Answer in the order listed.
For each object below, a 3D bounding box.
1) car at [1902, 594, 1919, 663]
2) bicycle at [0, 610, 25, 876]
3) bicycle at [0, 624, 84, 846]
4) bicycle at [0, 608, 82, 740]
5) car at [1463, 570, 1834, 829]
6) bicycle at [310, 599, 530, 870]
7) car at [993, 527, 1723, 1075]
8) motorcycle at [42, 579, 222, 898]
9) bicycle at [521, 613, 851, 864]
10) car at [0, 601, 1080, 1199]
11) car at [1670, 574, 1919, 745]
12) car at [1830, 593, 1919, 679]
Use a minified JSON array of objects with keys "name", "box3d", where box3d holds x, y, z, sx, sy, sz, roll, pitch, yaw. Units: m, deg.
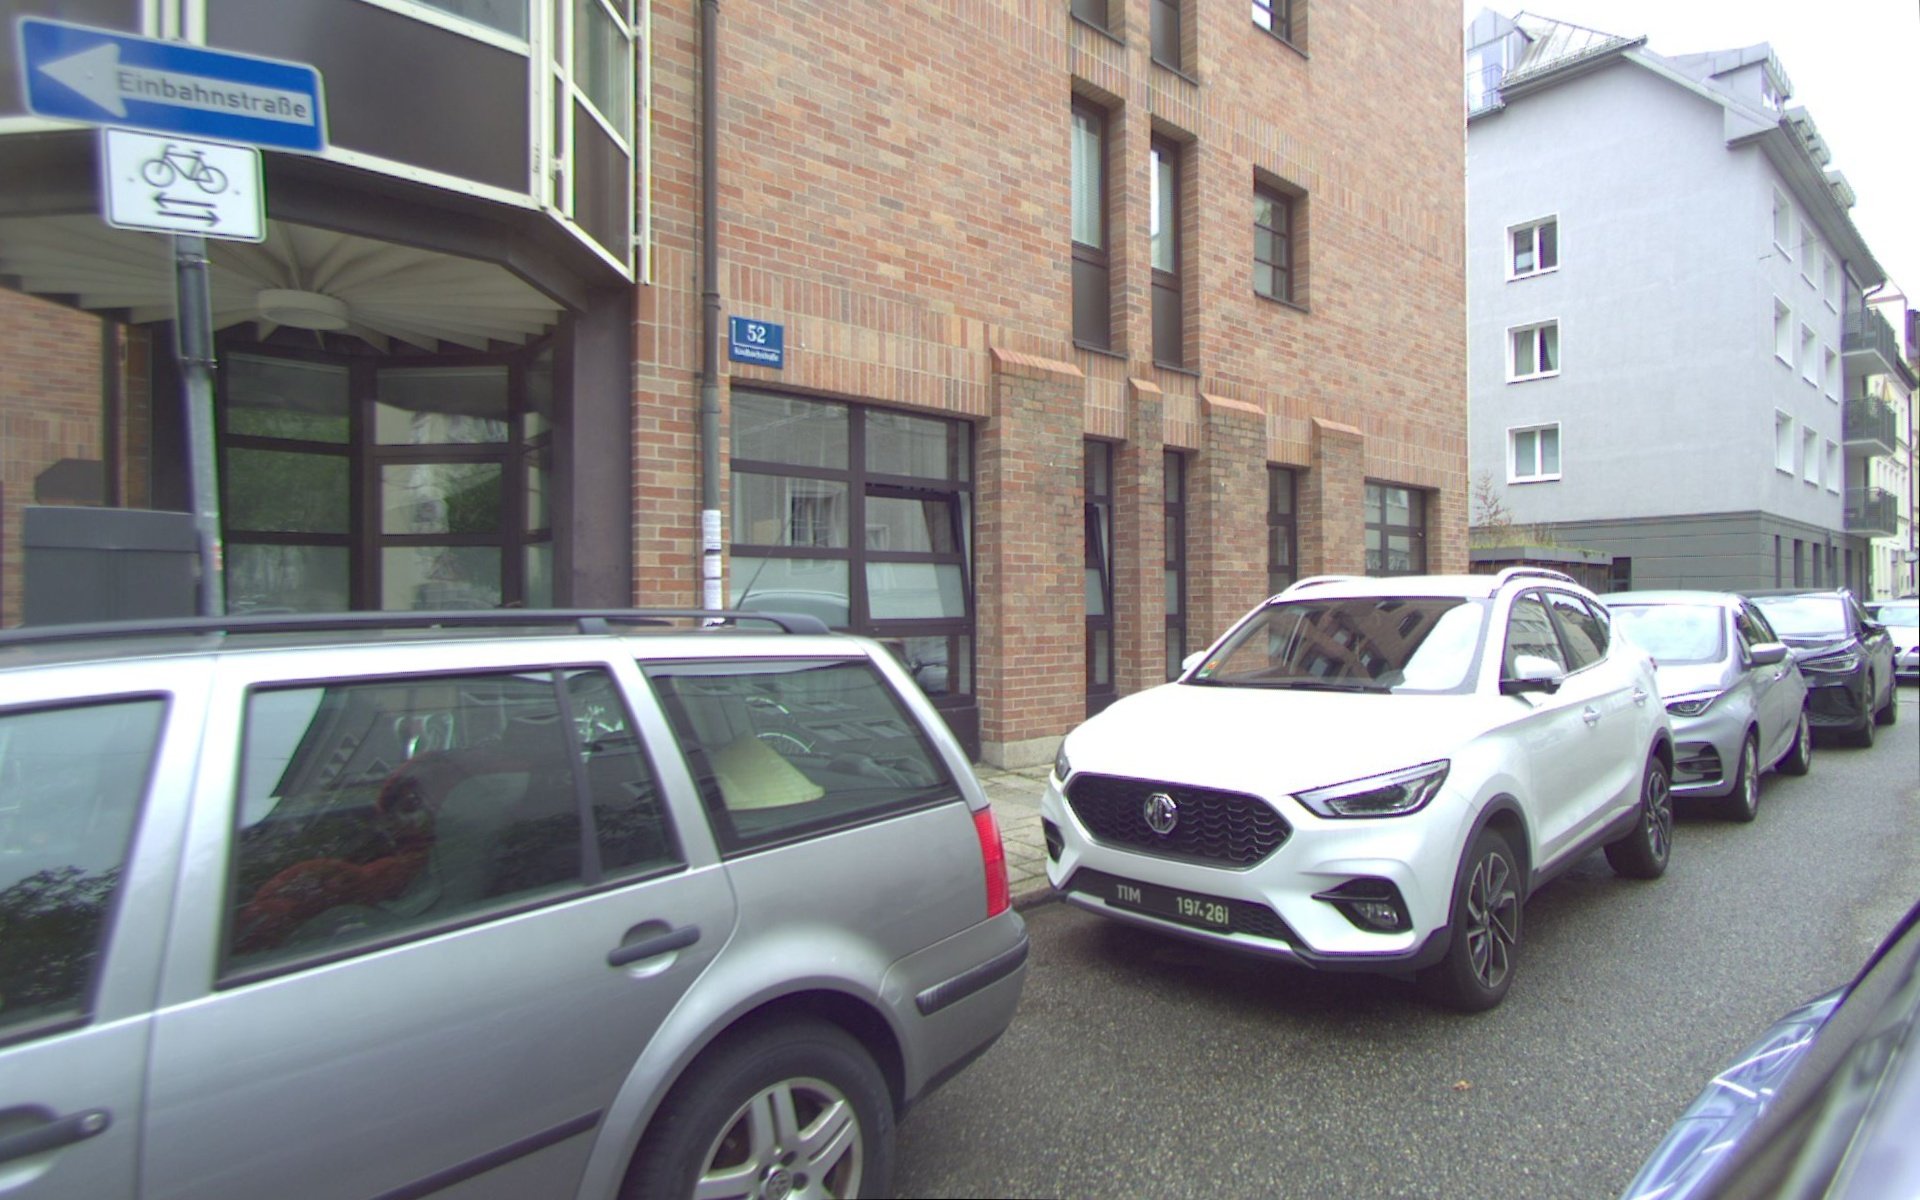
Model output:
[{"name":"car","box3d":[20.768,0.560,21.235,2.638,1.393,1.153,-1,-1,-41]},{"name":"bicycle","box3d":[-4.442,0.686,4.302,0.434,1.201,1.755,0,2,-34]},{"name":"bicycle","box3d":[-5.435,0.704,5.801,0.434,1.086,1.754,0,0,-34]},{"name":"bicycle","box3d":[-8.193,0.619,8.471,0.434,1.086,1.426,0,0,1]},{"name":"car","box3d":[5.601,0.612,8.051,3.743,1.578,1.616,-1,-1,-43]},{"name":"bicycle","box3d":[-2.983,0.640,5.786,0.581,1.245,1.881,-1,1,-12]},{"name":"car","box3d":[2.336,0.602,5.172,4.380,1.636,1.722,-1,-1,-43]},{"name":"motorcycle","box3d":[-4.376,0.599,5.301,1.760,1.402,0.543,2,1,44]},{"name":"bicycle","box3d":[-1.590,0.718,5.913,1.744,1.232,0.744,-1,1,-27]},{"name":"car","box3d":[-1.865,0.767,1.666,4.285,1.453,1.722,-1,-1,-43]},{"name":"car","box3d":[9.524,0.561,11.439,3.983,1.600,1.616,-1,-1,-43]},{"name":"car","box3d":[16.796,0.582,17.861,3.750,1.394,1.617,-1,-1,-41]}]
